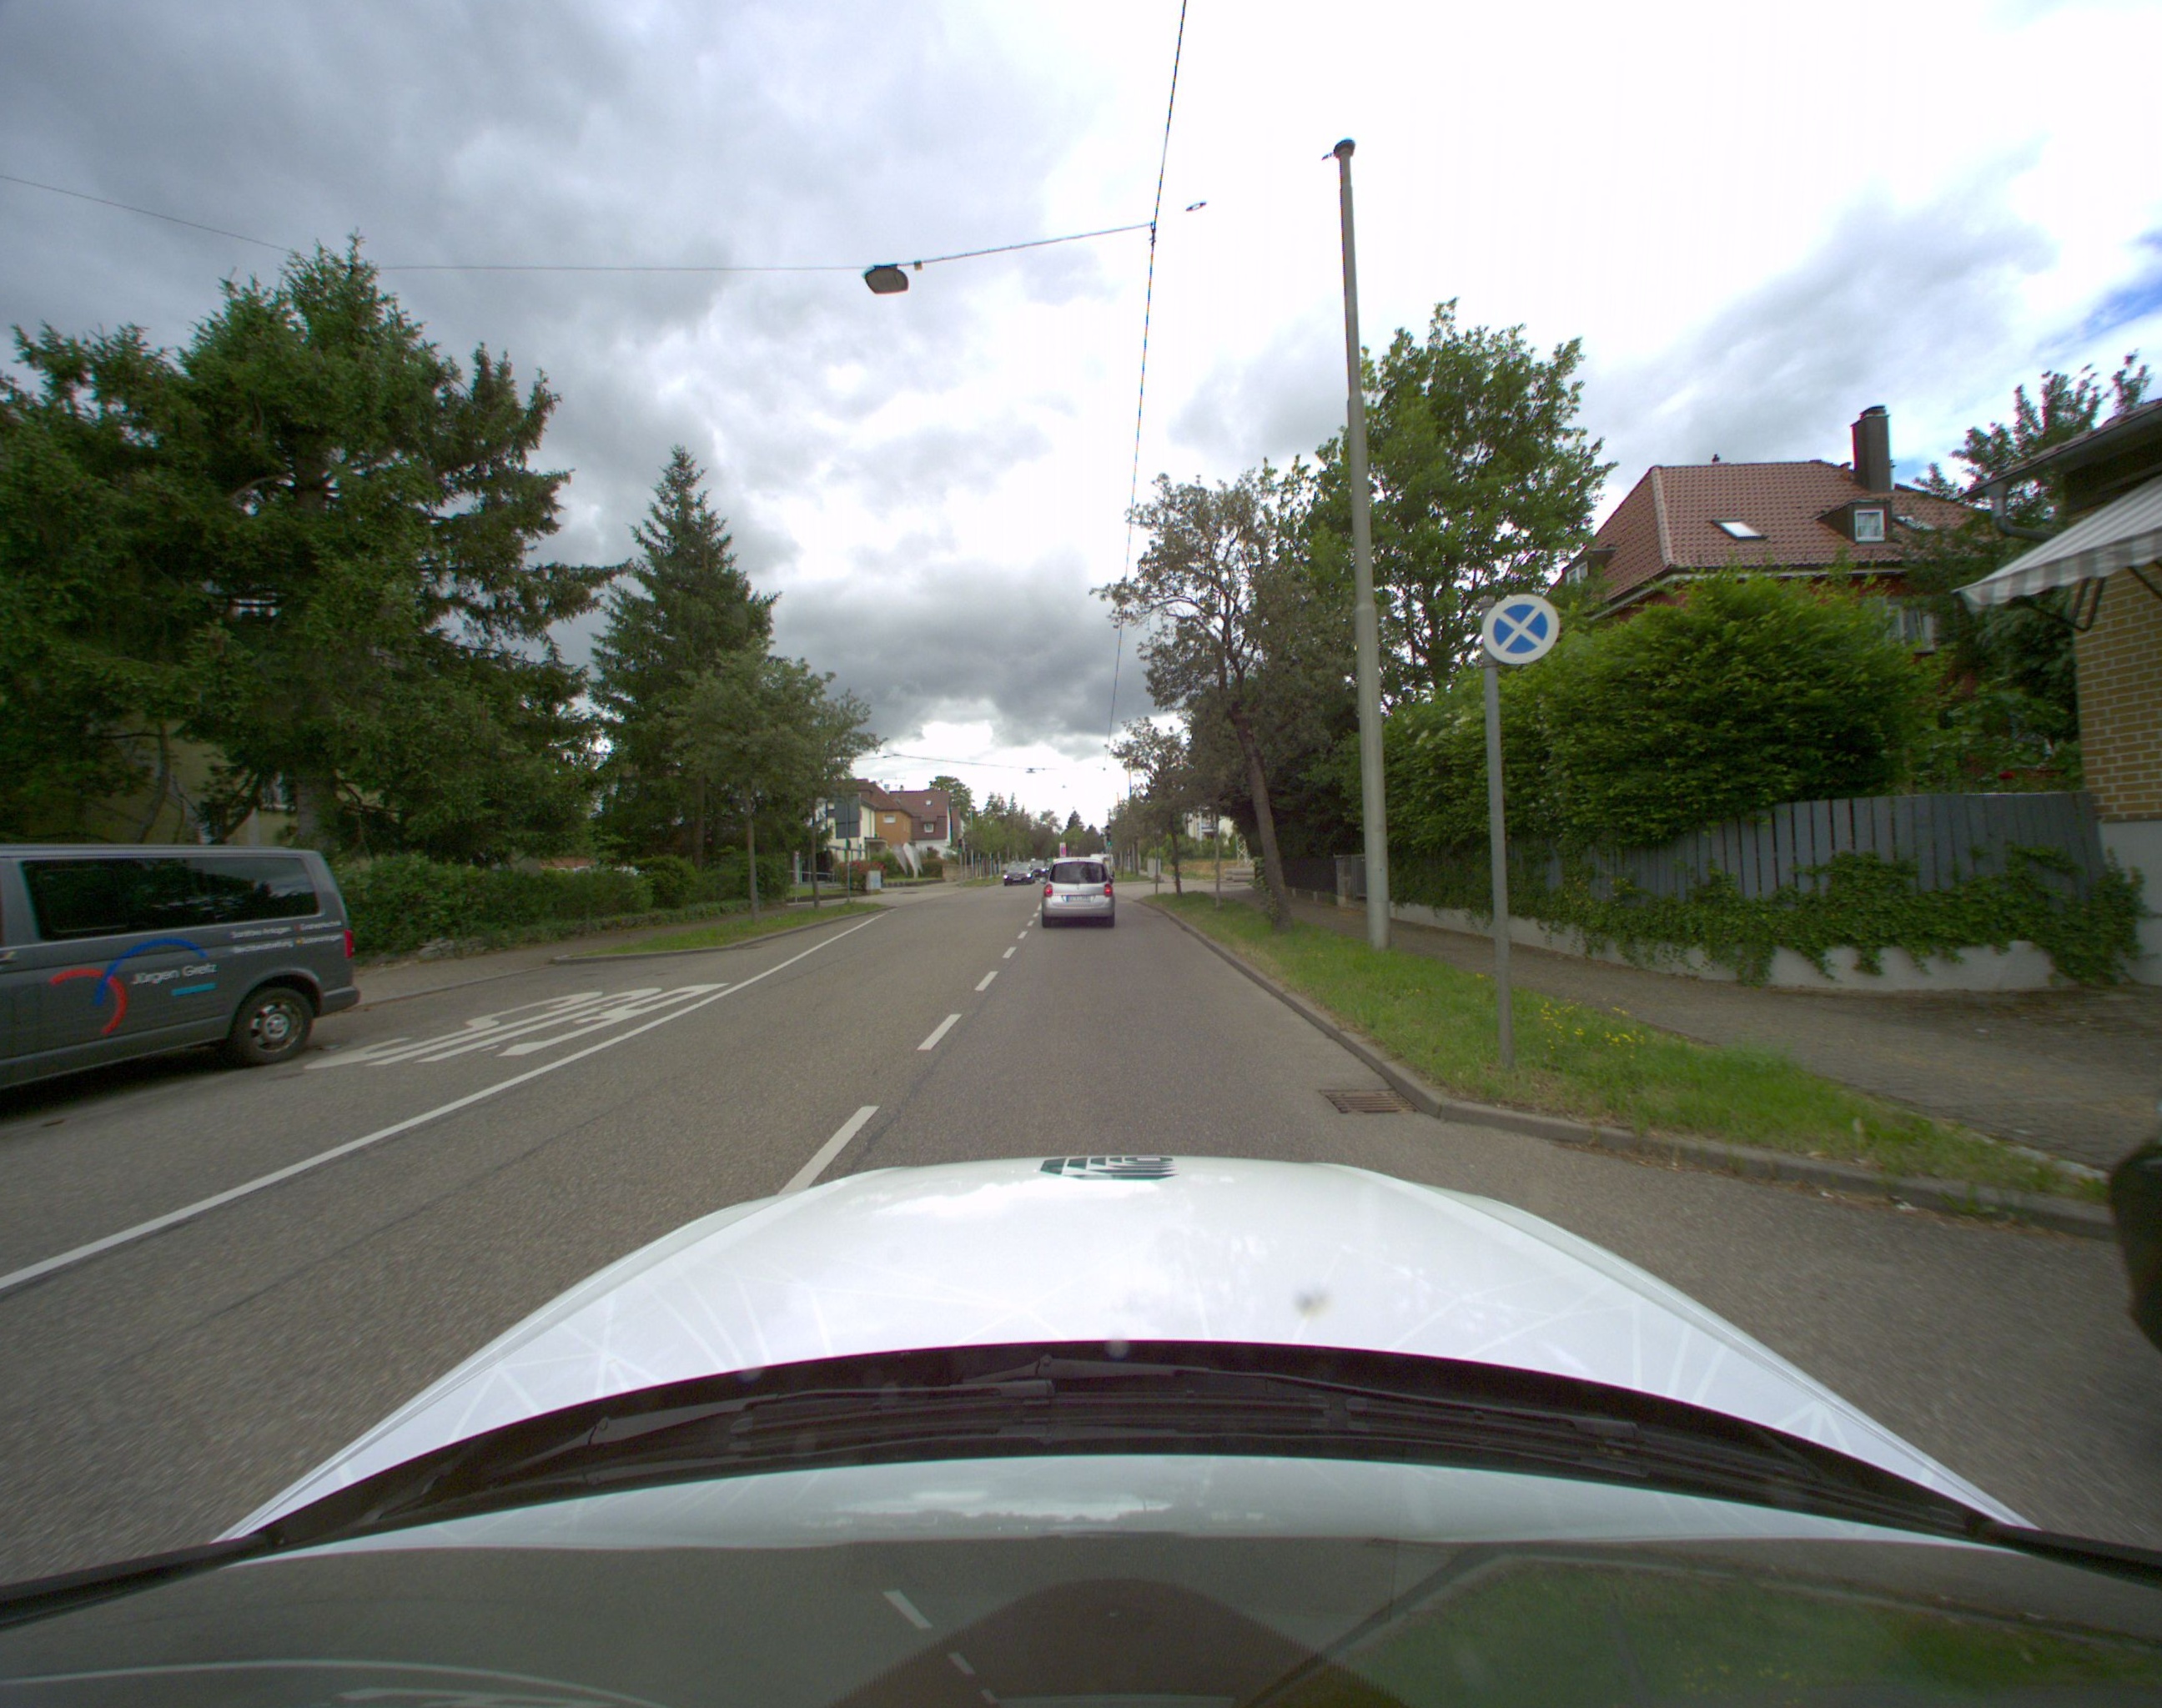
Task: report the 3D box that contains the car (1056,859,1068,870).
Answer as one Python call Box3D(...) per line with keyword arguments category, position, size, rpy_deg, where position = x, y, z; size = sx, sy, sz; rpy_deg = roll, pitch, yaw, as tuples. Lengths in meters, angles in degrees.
Box3D(category="car", position=(-3.183, 1.755, 139.091), size=(1.808, 1.693, 4.464), rpy_deg=(-3, -1, 0))

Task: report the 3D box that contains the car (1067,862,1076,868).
Box3D(category="car", position=(-2.428, 2.786, 207.532), size=(1.694, 1.506, 3.961), rpy_deg=(-1, -1, -8))

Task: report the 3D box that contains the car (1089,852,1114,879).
Box3D(category="car", position=(1.558, 0.878, 62.531), size=(1.769, 1.943, 4.787), rpy_deg=(-1, 0, 0))

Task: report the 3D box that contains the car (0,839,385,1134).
Box3D(category="car", position=(-8.154, 0.917, 5.849), size=(1.987, 1.949, 4.898), rpy_deg=(-2, 0, 1))

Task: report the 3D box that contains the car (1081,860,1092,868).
Box3D(category="car", position=(1.109, 1.931, 160.984), size=(1.625, 1.452, 3.867), rpy_deg=(-2, 0, -6))

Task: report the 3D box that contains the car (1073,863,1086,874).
Box3D(category="car", position=(-0.244, 2.318, 134.547), size=(1.831, 1.714, 3.994), rpy_deg=(-3, 0, -4))

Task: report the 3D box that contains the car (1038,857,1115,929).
Box3D(category="car", position=(-0.082, 0.861, 19.453), size=(1.674, 1.560, 3.511), rpy_deg=(0, -1, 0))

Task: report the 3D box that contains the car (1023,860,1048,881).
Box3D(category="car", position=(-3.842, 1.375, 68.972), size=(1.889, 1.624, 3.999), rpy_deg=(-2, 0, 0))

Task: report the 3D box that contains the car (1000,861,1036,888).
Box3D(category="car", position=(-4.160, 1.338, 54.400), size=(1.987, 1.621, 4.646), rpy_deg=(-2, -1, -1))

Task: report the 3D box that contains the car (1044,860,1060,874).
Box3D(category="car", position=(-3.424, 1.538, 97.522), size=(1.610, 1.472, 4.001), rpy_deg=(-3, 0, 2))
